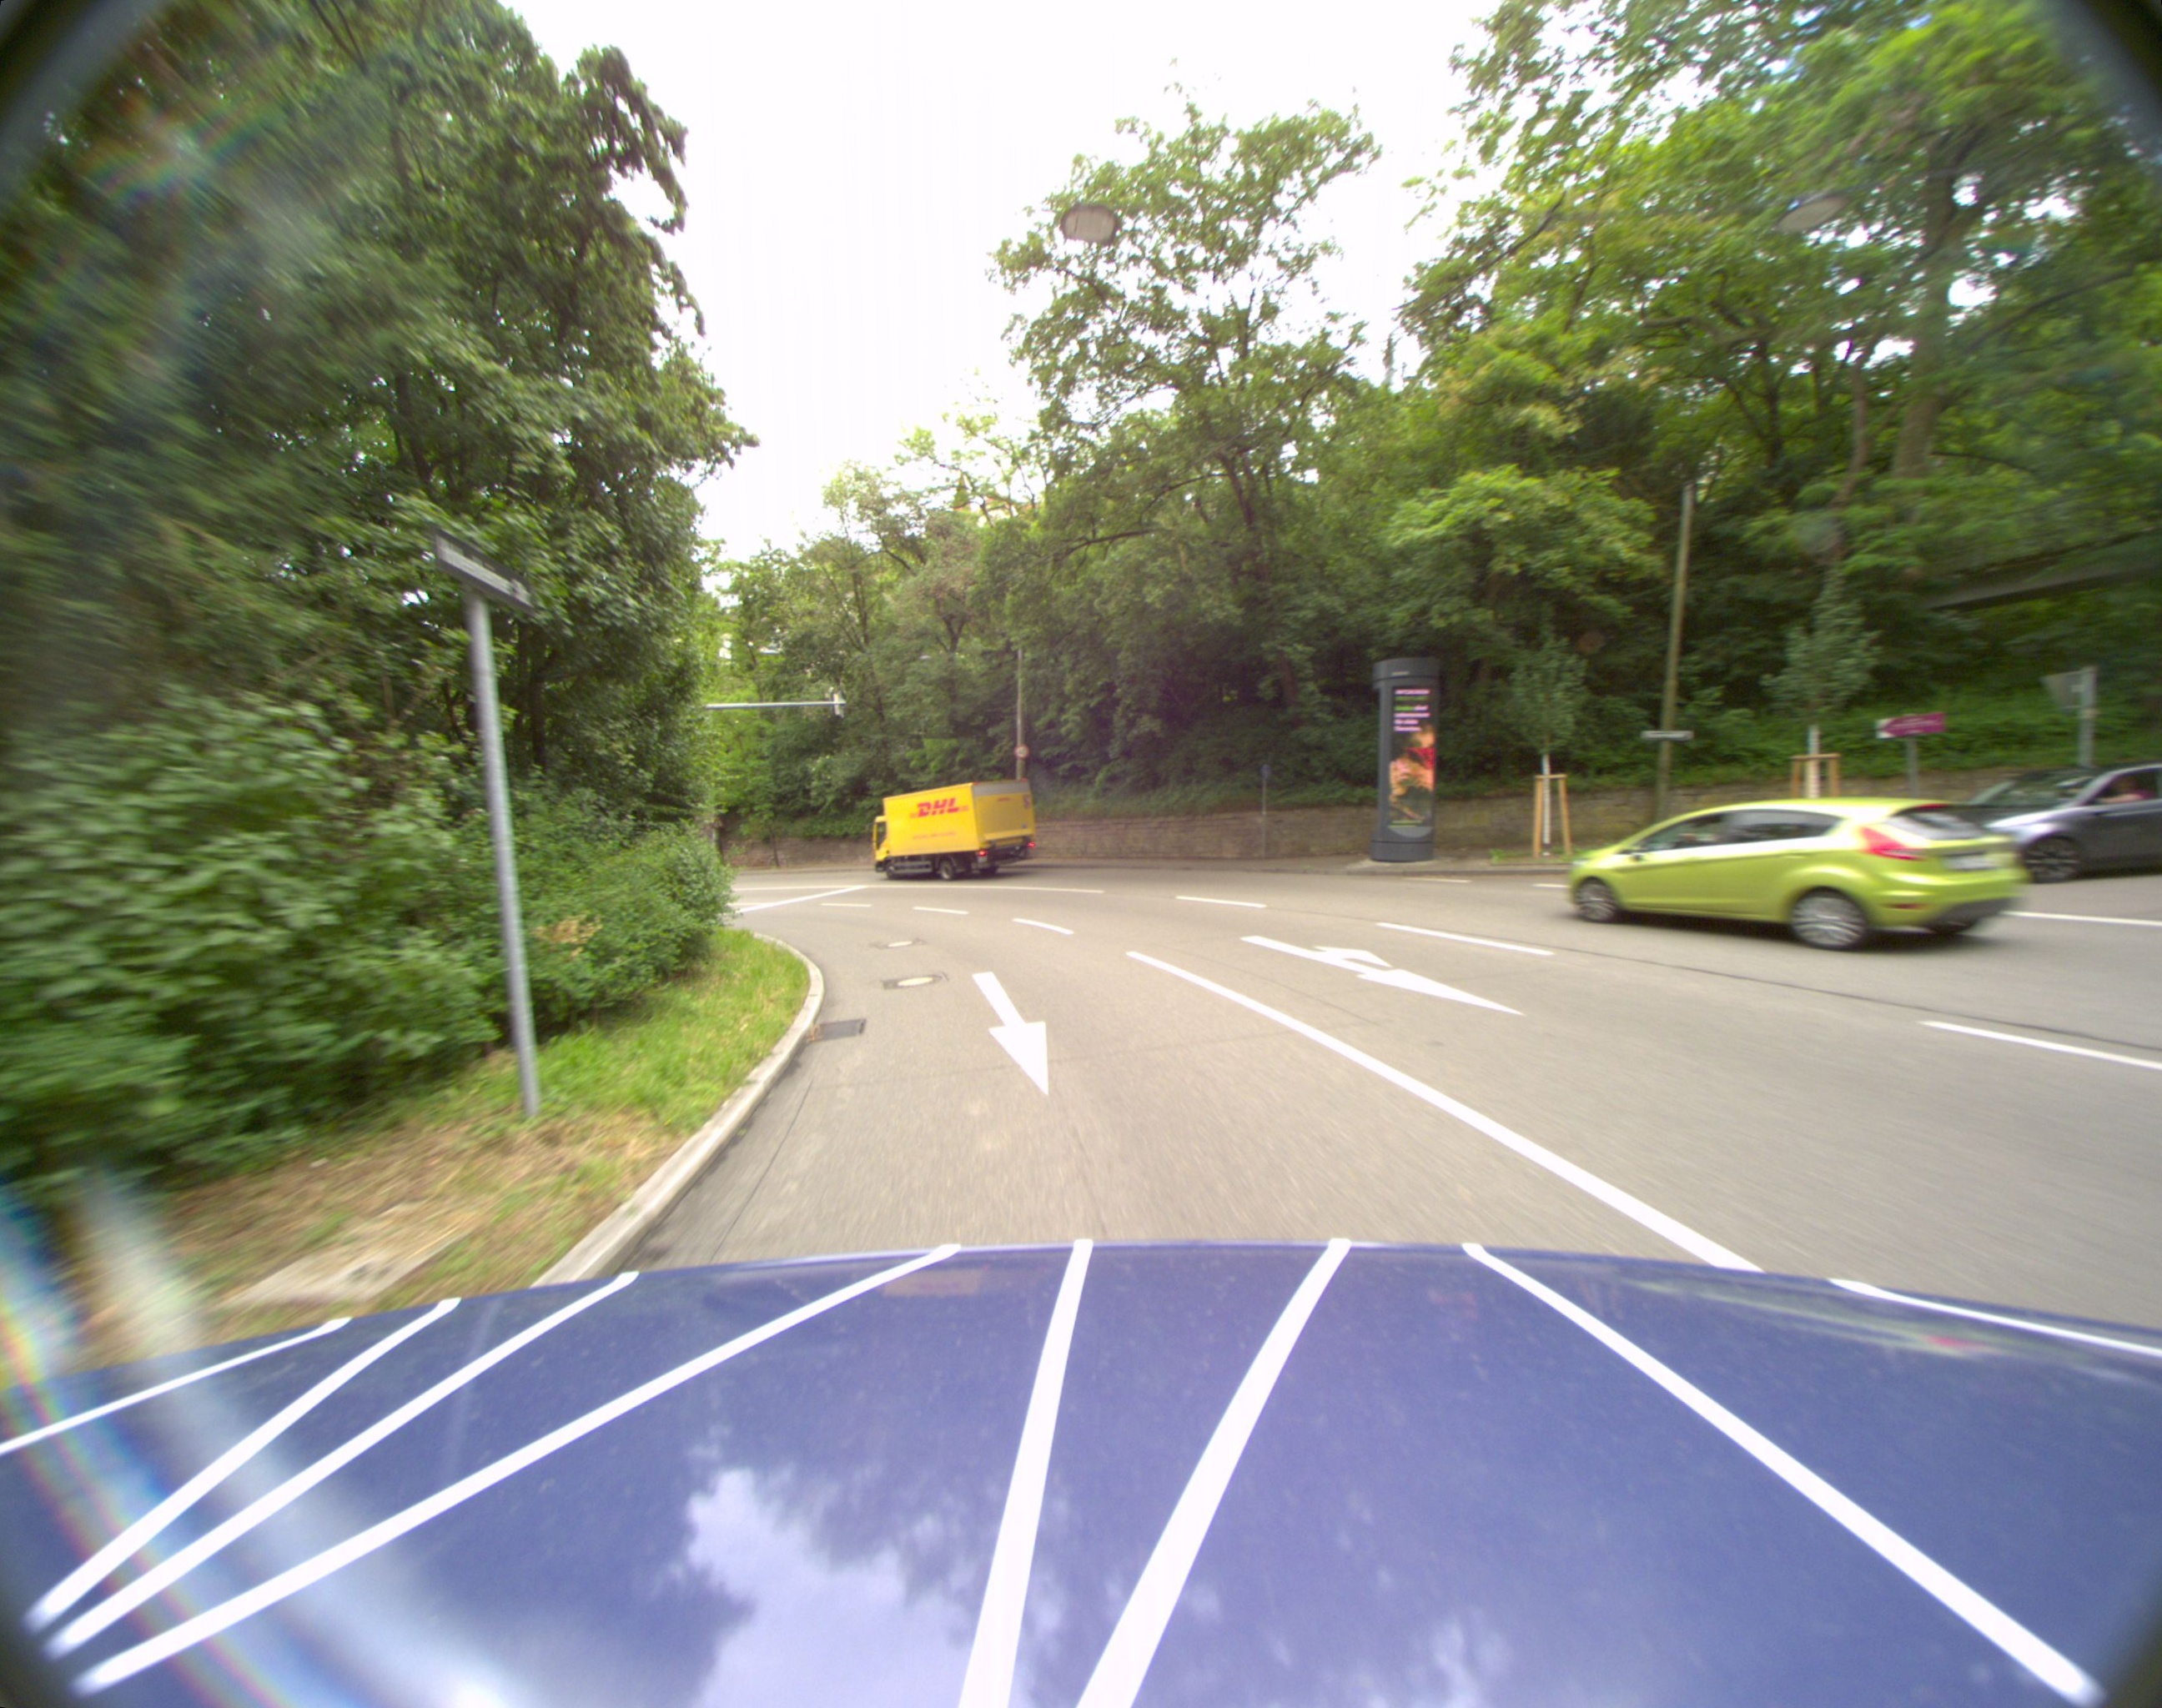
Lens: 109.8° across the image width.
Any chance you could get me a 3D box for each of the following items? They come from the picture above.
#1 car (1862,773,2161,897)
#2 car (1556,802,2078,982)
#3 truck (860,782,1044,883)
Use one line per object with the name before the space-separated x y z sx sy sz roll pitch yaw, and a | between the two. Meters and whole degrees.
car | 13.770 -0.308 10.424 3.994 1.351 1.754 -4 3 9
car | 7.472 0.271 8.326 1.560 1.415 3.894 -4 2 -12
truck | -5.045 -0.733 28.616 2.762 3.282 7.561 -7 4 -45
